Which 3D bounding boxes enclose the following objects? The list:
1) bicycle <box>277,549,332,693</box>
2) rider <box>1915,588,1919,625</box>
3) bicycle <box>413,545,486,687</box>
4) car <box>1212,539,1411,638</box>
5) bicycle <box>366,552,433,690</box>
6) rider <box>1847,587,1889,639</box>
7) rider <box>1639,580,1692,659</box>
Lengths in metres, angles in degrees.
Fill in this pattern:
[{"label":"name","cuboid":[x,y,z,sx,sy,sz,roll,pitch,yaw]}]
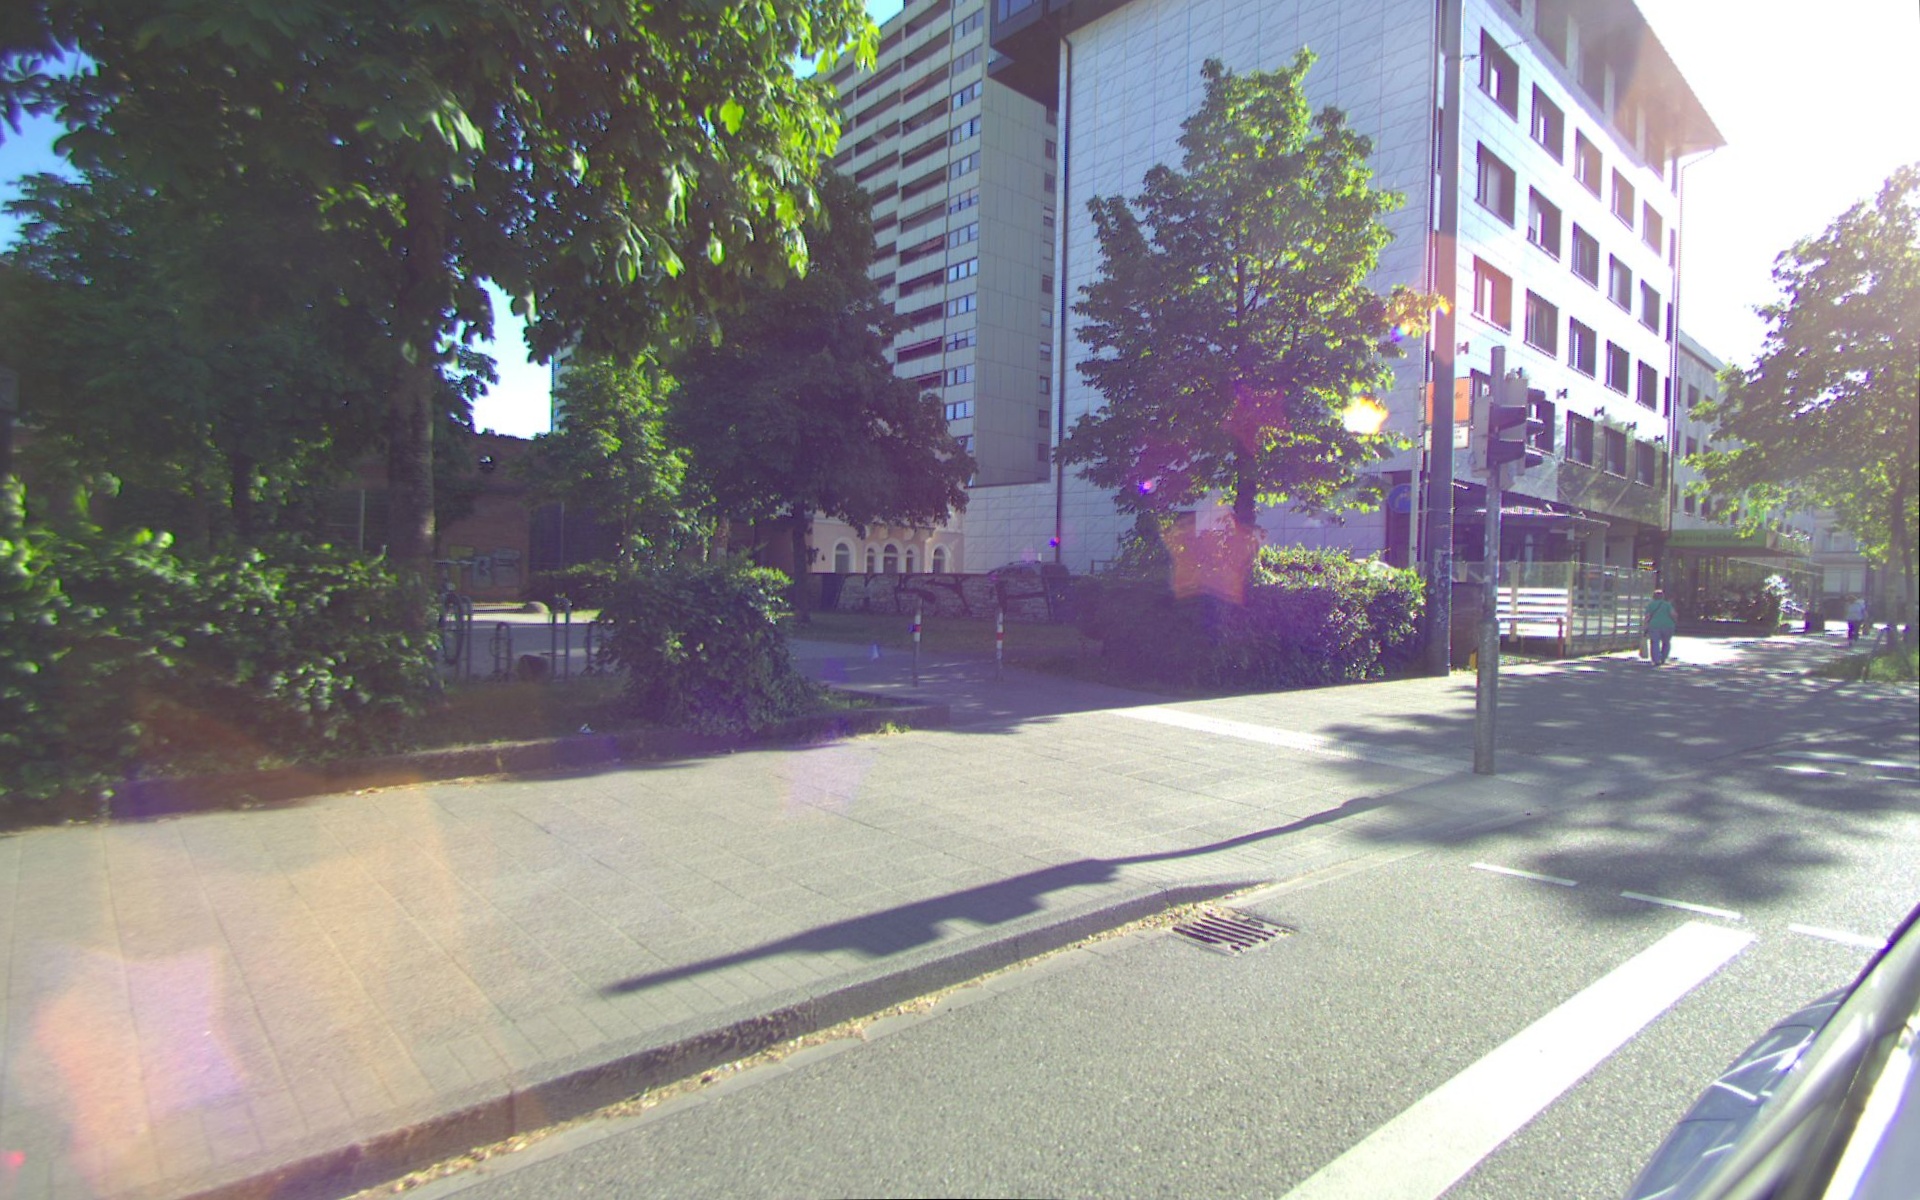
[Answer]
[{"label":"bicycle","cuboid":[-6.325,0.154,9.744,0.364,1.256,1.626,0,3,-36]},{"label":"rider","cuboid":[47.008,0.310,49.201,0.880,1.749,0.757,0,-1,-44]},{"label":"bicycle","cuboid":[-5.294,0.127,10.453,0.364,1.350,1.659,3,1,-36]},{"label":"car","cuboid":[8.372,-0.349,24.314,1.967,2.123,3.991,0,3,-44]},{"label":"bicycle","cuboid":[-5.681,0.164,10.222,0.364,1.256,1.760,1,2,-36]},{"label":"rider","cuboid":[30.367,0.430,33.855,0.960,1.699,0.923,0,-1,-42]},{"label":"rider","cuboid":[15.058,0.401,21.592,0.777,1.611,0.777,3,2,44]}]
